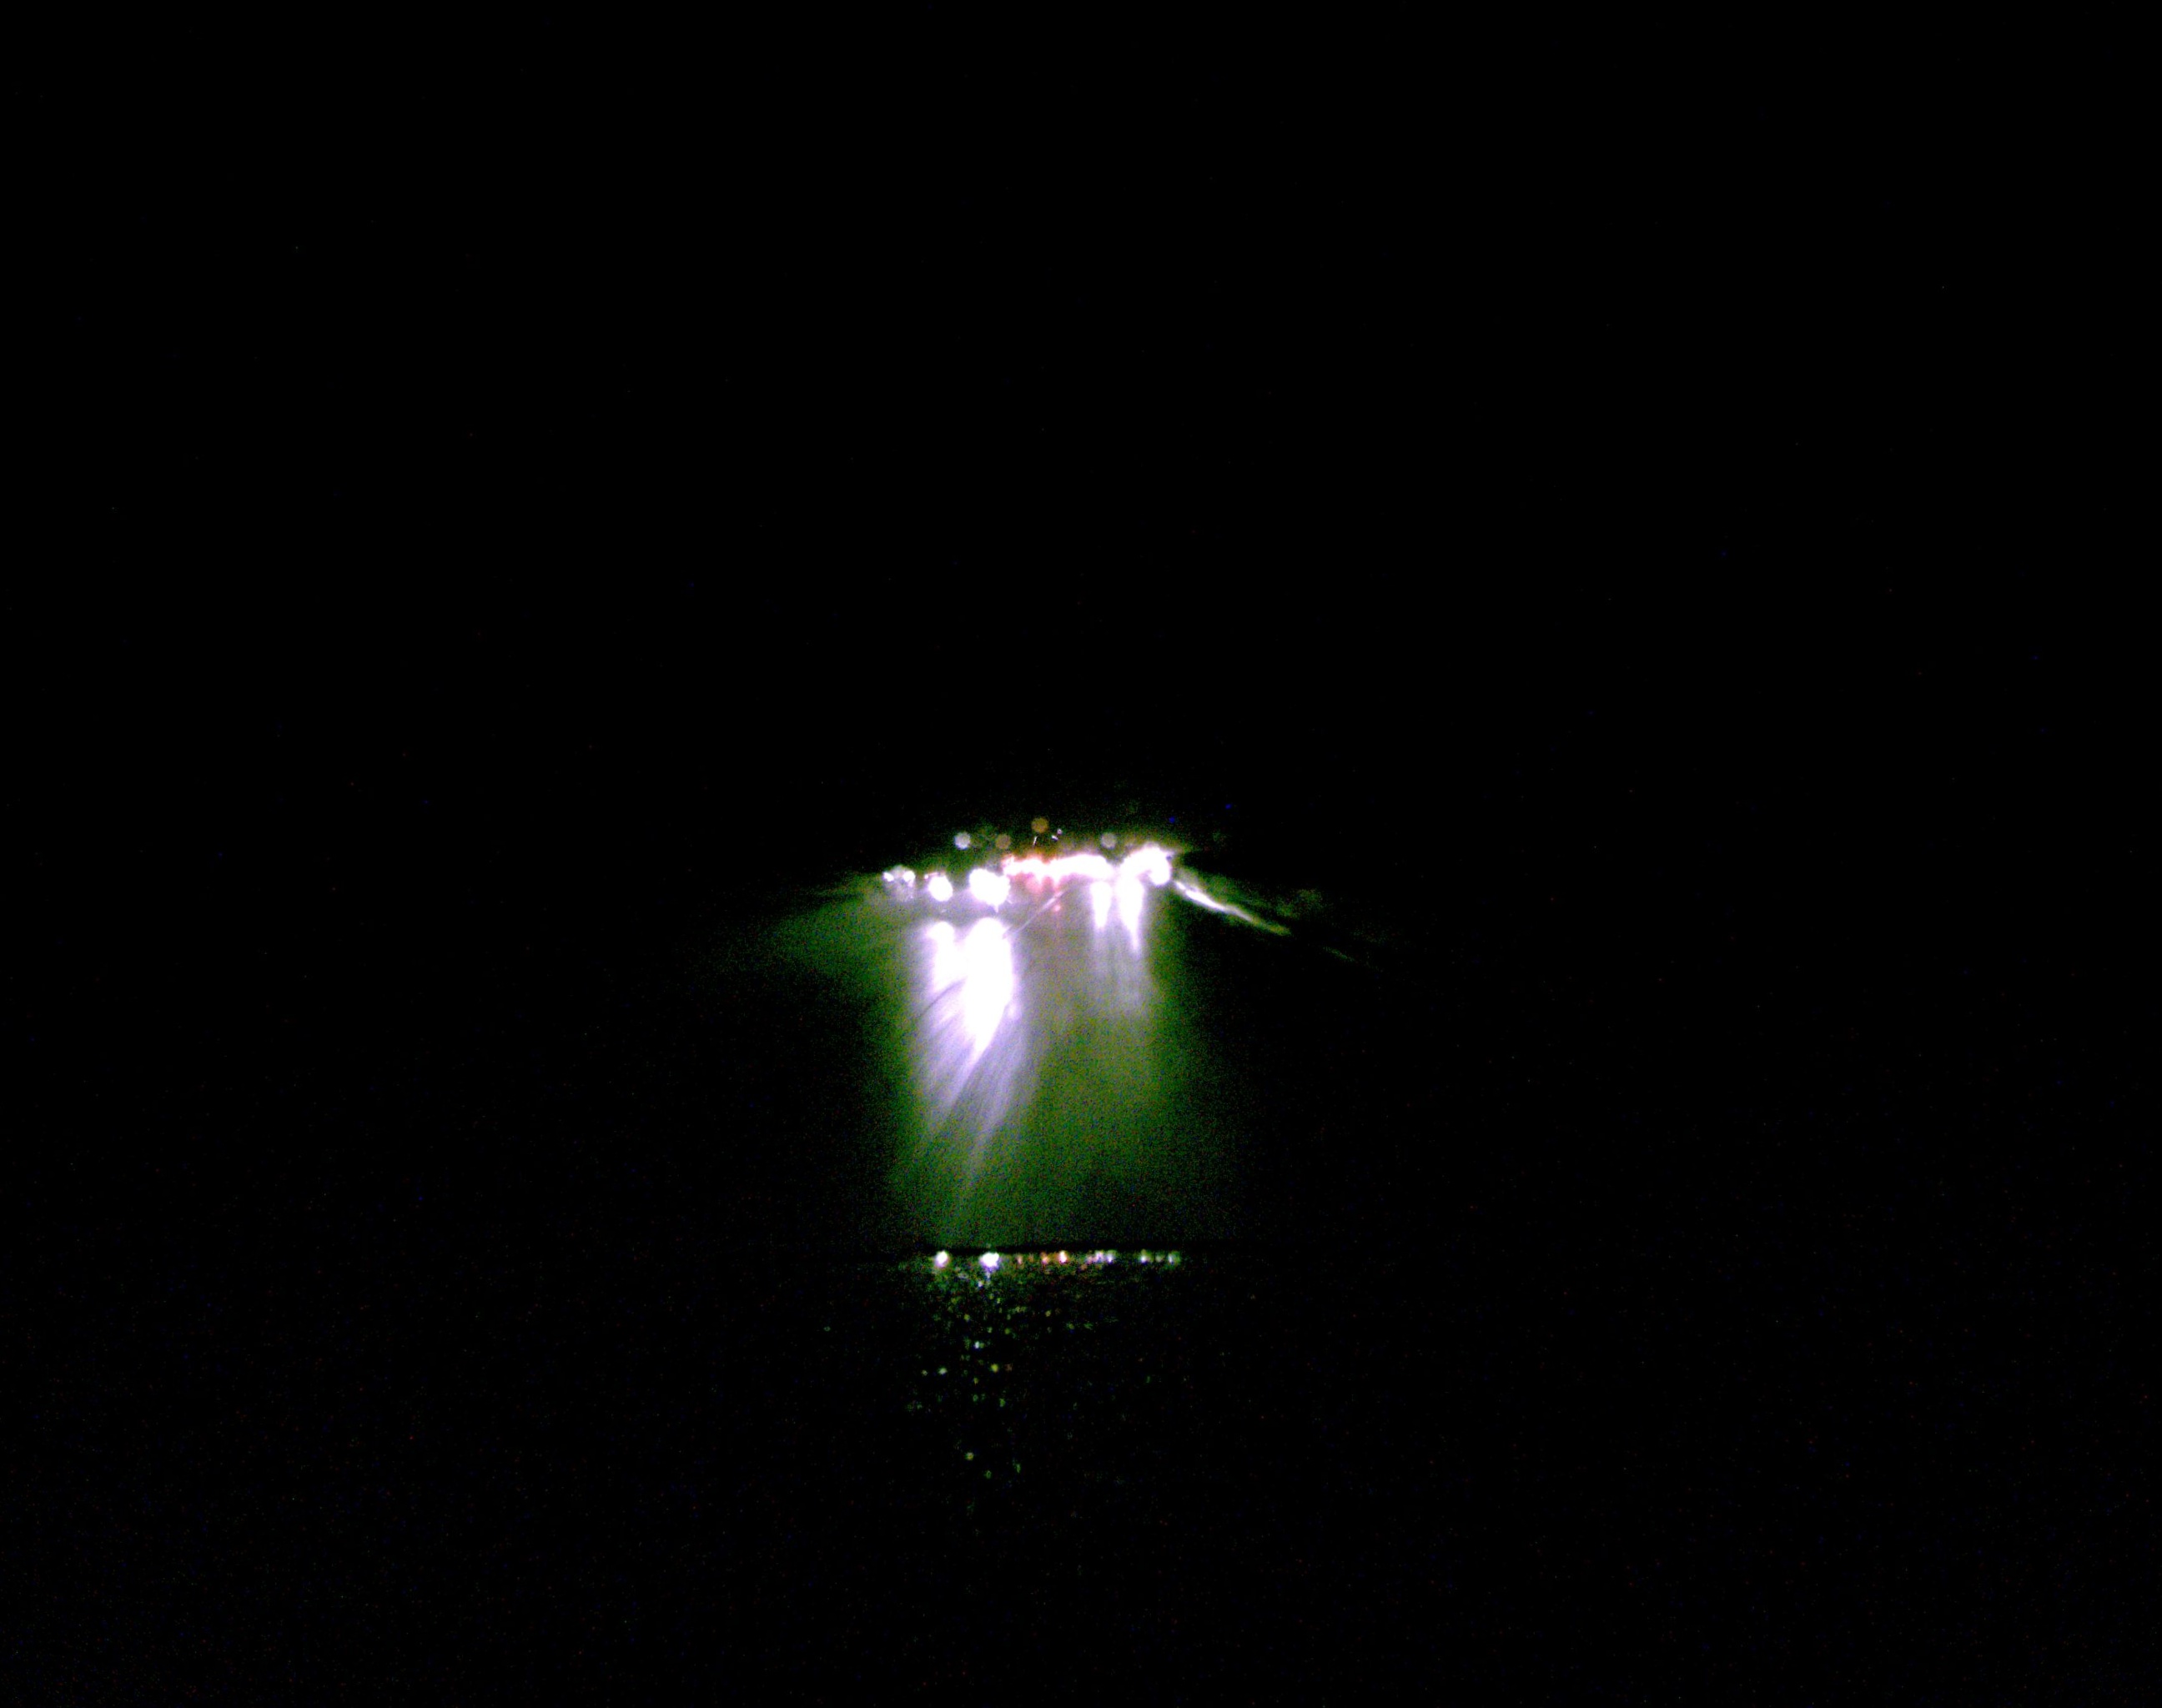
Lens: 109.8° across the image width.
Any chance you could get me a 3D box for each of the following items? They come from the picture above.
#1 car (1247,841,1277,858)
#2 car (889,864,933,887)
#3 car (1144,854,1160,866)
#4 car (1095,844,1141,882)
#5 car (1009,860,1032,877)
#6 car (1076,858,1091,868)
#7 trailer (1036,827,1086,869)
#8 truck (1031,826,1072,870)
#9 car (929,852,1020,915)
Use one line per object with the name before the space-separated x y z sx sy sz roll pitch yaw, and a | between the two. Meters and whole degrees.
car | 18.087 -0.460 76.178 2.129 1.517 4.000 -4 0 3
car | -14.027 1.776 62.941 1.997 1.542 4.003 -6 0 10
car | 11.715 1.030 125.730 1.999 1.802 3.999 -6 0 -4
car | 2.204 0.490 44.338 1.997 2.001 4.003 -4 0 10
car | -8.042 1.914 101.481 1.997 2.002 4.002 -6 0 8
car | 0.483 1.767 145.230 1.997 1.615 4.628 -6 0 8
trailer | -1.963 -0.686 82.632 2.745 3.955 13.827 -6 0 8
truck | -2.920 -0.610 76.159 2.781 3.946 5.201 -6 0 8
car | -3.145 0.841 23.146 1.847 1.614 3.680 -5 -1 5
